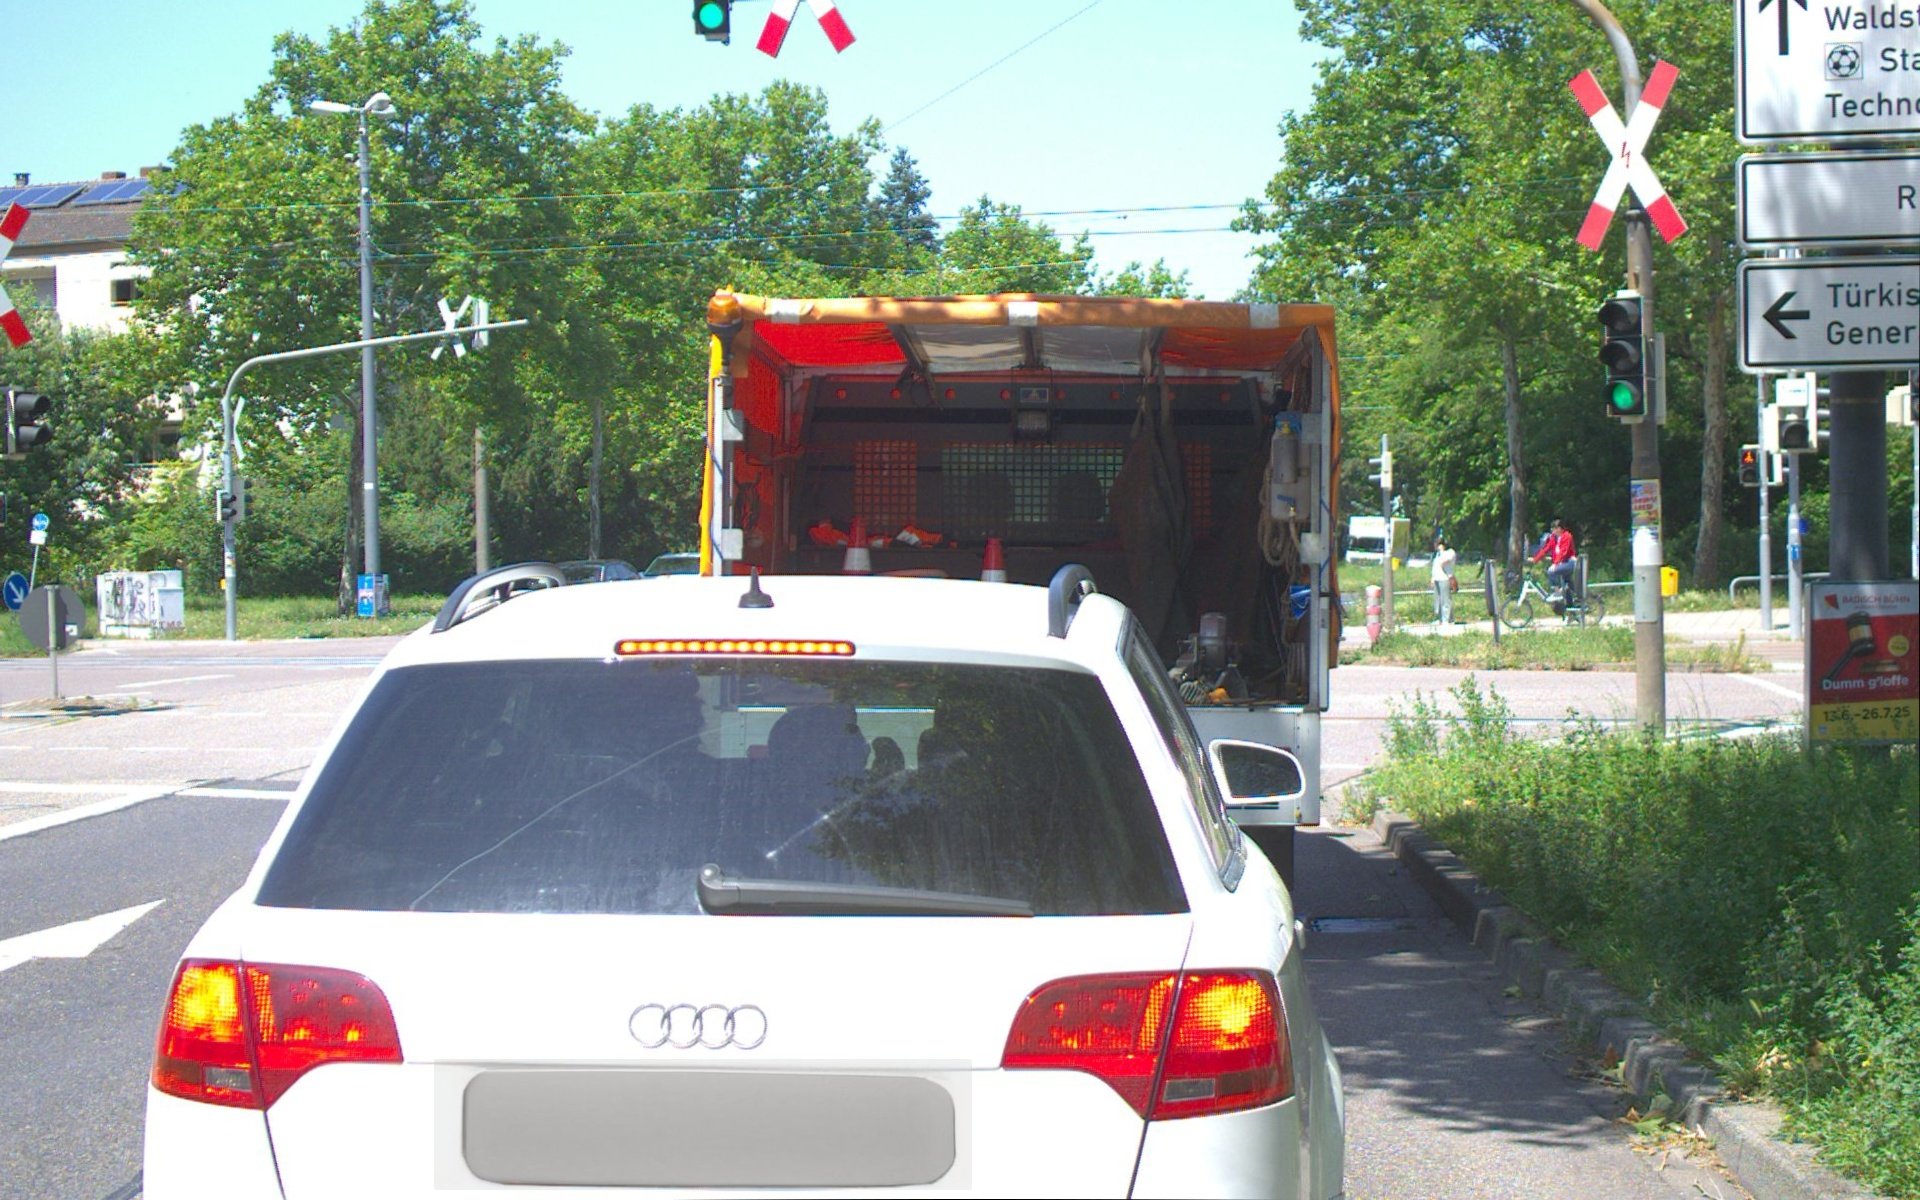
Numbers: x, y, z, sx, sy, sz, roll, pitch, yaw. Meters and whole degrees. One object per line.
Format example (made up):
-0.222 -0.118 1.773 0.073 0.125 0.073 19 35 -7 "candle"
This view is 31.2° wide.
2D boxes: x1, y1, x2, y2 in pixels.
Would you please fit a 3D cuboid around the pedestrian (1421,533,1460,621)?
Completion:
8.138 -0.398 58.185 0.553 1.479 0.629 -1 1 16 "pedestrian"

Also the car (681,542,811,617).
-4.575 -0.460 74.134 1.909 1.533 4.297 -1 1 8 "car"

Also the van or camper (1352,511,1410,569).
24.653 -3.532 201.286 2.662 3.320 5.497 0 1 14 "van or camper"

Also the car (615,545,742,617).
-6.569 -0.469 80.729 1.788 1.609 4.402 -1 1 12 "car"

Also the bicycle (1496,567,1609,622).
9.612 -0.093 55.802 1.806 0.892 0.589 0 0 9 "bicycle"

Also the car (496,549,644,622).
-8.285 -0.341 73.416 1.950 1.435 4.745 0 2 9 "car"

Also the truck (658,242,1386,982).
0.382 -0.006 15.813 2.511 2.551 7.603 1 1 3 "truck"

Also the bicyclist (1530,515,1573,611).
9.597 -0.596 55.802 0.672 1.551 0.579 0 0 9 "bicyclist"

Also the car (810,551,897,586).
-4.296 -1.274 139.222 1.884 1.388 3.994 0 1 26 "car"

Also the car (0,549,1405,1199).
-0.236 0.642 5.988 1.763 1.440 3.615 0 1 4 "car"
